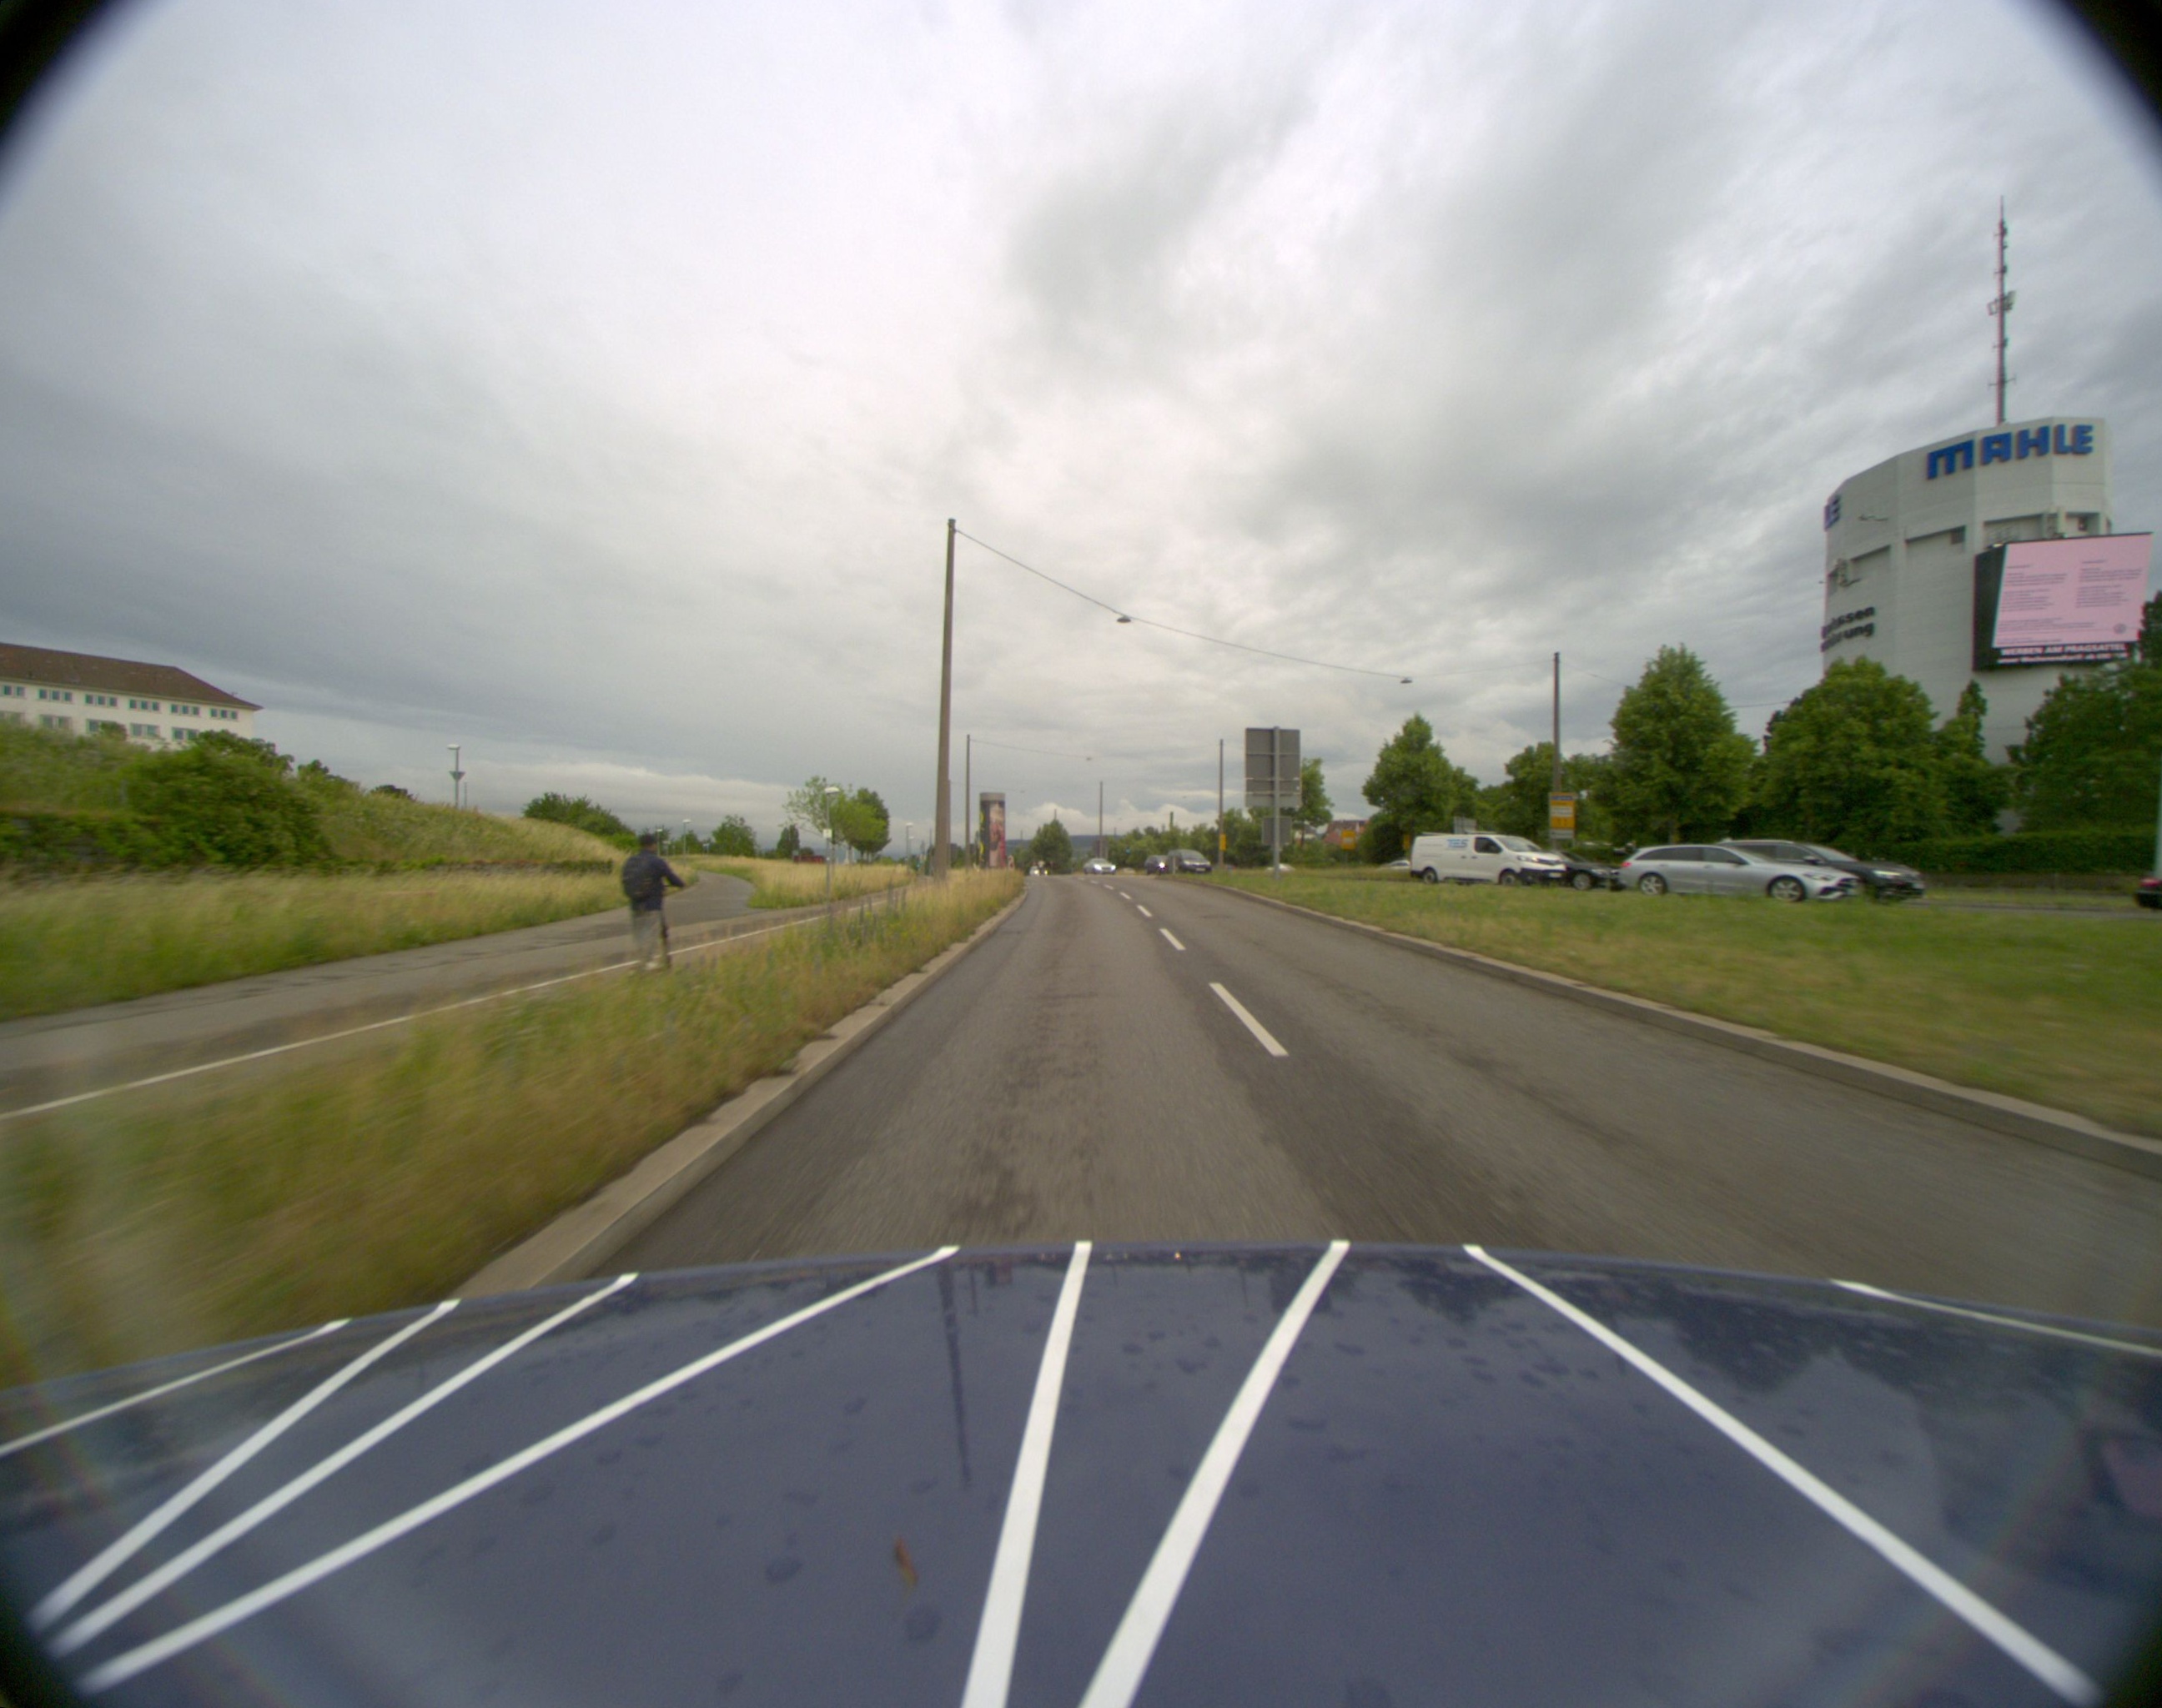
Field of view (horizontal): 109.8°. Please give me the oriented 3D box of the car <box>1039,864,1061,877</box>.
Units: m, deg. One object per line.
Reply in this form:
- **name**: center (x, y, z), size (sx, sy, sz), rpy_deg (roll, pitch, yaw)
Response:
- **car**: center (-4.546, 2.354, 110.161), size (2.001, 1.632, 4.623), rpy_deg (-2, -2, -18)

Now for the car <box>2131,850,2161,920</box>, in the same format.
- **car**: center (22.837, 0.604, 14.008), size (1.762, 1.364, 3.859), rpy_deg (-1, 0, -28)

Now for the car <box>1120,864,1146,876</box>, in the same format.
- **car**: center (7.520, 2.305, 110.572), size (2.002, 1.760, 4.863), rpy_deg (-1, 0, -18)

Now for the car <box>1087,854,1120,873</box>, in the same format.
- **car**: center (1.906, 0.871, 65.686), size (2.000, 1.399, 4.523), rpy_deg (-2, -3, -8)

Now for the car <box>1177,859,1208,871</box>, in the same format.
- **car**: center (13.540, 1.334, 92.285), size (1.917, 1.522, 3.993), rpy_deg (0, -1, -23)

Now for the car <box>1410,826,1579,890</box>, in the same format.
- **car**: center (13.951, 0.120, 26.039), size (1.912, 1.961, 5.083), rpy_deg (1, 0, -20)

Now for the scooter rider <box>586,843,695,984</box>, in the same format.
- **scooter rider**: center (-5.322, 0.696, 9.229), size (0.808, 1.618, 0.828), rpy_deg (1, 0, 0)

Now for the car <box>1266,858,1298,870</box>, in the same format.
- **car**: center (22.918, 1.154, 86.737), size (1.668, 1.383, 3.975), rpy_deg (0, -1, -18)

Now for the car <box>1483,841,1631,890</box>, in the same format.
- **car**: center (16.653, 0.382, 26.795), size (1.913, 1.554, 3.991), rpy_deg (1, 0, -26)

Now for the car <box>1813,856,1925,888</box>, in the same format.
- **car**: center (41.548, 0.919, 40.146), size (1.736, 1.565, 3.728), rpy_deg (-1, 0, -19)

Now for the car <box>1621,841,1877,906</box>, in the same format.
- **car**: center (16.640, 0.456, 19.270), size (1.846, 1.426, 4.512), rpy_deg (1, -1, -22)

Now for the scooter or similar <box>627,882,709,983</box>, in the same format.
- **scooter or similar**: center (-5.364, 0.987, 9.916), size (0.402, 1.189, 1.114), rpy_deg (-3, 0, 0)

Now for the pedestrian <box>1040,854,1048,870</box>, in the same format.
- **pedestrian**: center (-3.617, 0.791, 74.277), size (0.634, 1.561, 0.895), rpy_deg (-1, -3, -6)

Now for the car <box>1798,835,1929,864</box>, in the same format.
- **car**: center (62.912, -0.360, 61.317), size (2.392, 2.118, 6.988), rpy_deg (-2, 0, -18)

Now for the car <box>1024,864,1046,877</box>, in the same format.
- **car**: center (-6.705, 2.426, 109.333), size (2.001, 1.632, 4.623), rpy_deg (-2, -2, -18)

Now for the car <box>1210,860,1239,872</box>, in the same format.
- **car**: center (17.688, 1.505, 93.799), size (1.884, 1.433, 3.976), rpy_deg (0, -1, -17)

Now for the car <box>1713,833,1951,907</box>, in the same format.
- **car**: center (19.777, 0.429, 20.257), size (1.846, 1.671, 4.065), rpy_deg (-3, 0, -22)

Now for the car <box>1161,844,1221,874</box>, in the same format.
- **car**: center (6.254, 0.277, 43.687), size (1.803, 1.556, 4.037), rpy_deg (-2, 1, -17)

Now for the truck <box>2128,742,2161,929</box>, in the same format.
- **truck**: center (21.051, -0.369, 11.097), size (2.679, 3.201, 6.533), rpy_deg (-1, 0, -30)

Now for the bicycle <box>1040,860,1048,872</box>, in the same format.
- **bicycle**: center (-3.596, 1.197, 74.173), size (0.634, 1.098, 1.753), rpy_deg (-1, -3, -6)

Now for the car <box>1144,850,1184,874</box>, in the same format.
- **car**: center (6.729, 0.655, 62.158), size (2.001, 1.849, 3.996), rpy_deg (-1, -2, -14)
